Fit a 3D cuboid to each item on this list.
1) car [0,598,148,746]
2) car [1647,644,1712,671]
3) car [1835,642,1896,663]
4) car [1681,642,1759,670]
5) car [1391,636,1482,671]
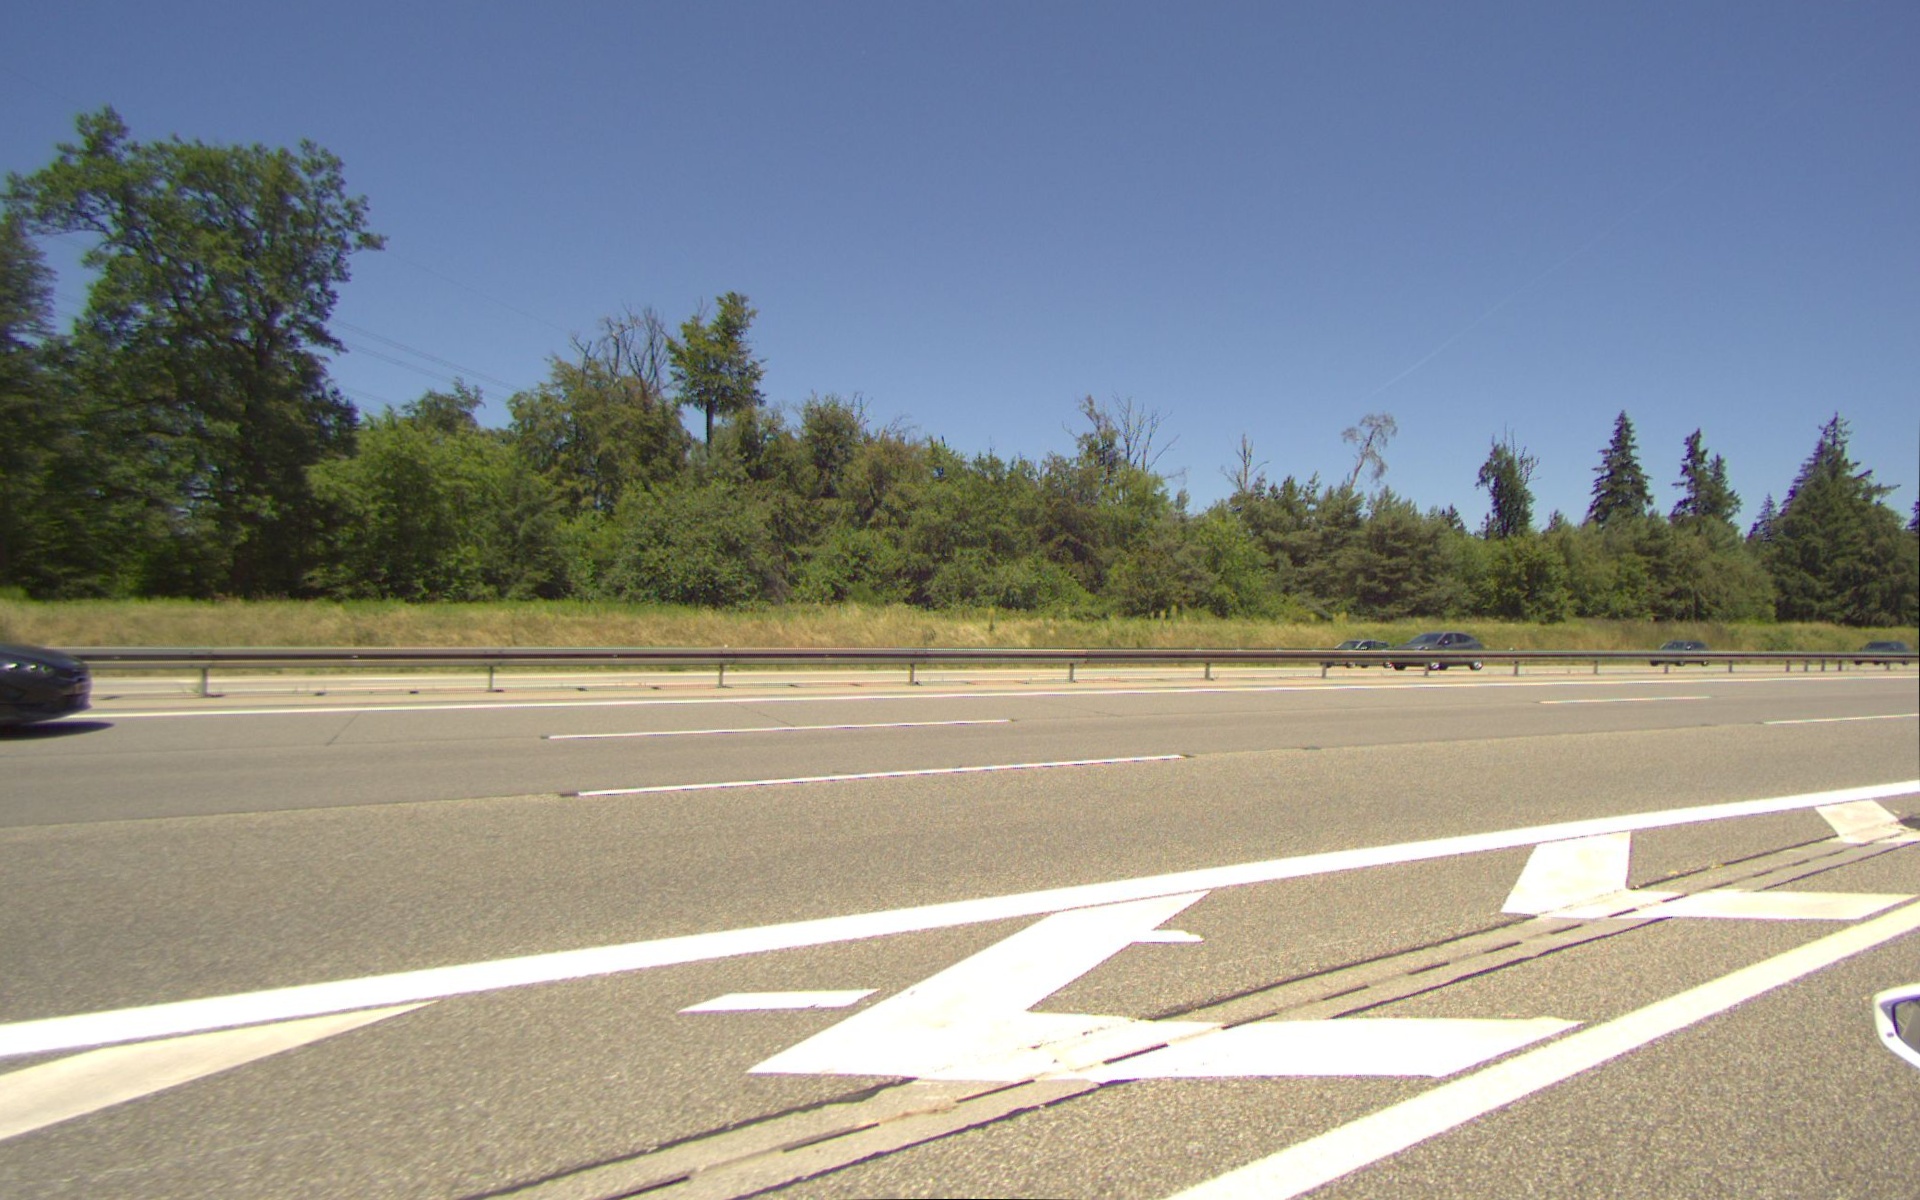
[{"bbox_3d":[-11.361,0.673,9.869,4.936,1.450,1.825,1,-1,-28],"label":"car"},{"bbox_3d":[44.876,3.563,62.655,3.946,1.547,1.554,2,0,-25],"label":"car"},{"bbox_3d":[65.347,3.800,72.466,4.378,1.439,1.783,2,-1,-26],"label":"car"},{"bbox_3d":[36.153,2.660,47.775,3.521,1.277,1.615,2,-2,-27],"label":"car"},{"bbox_3d":[19.475,2.174,41.009,3.521,1.374,1.557,2,-2,-27],"label":"car"}]
